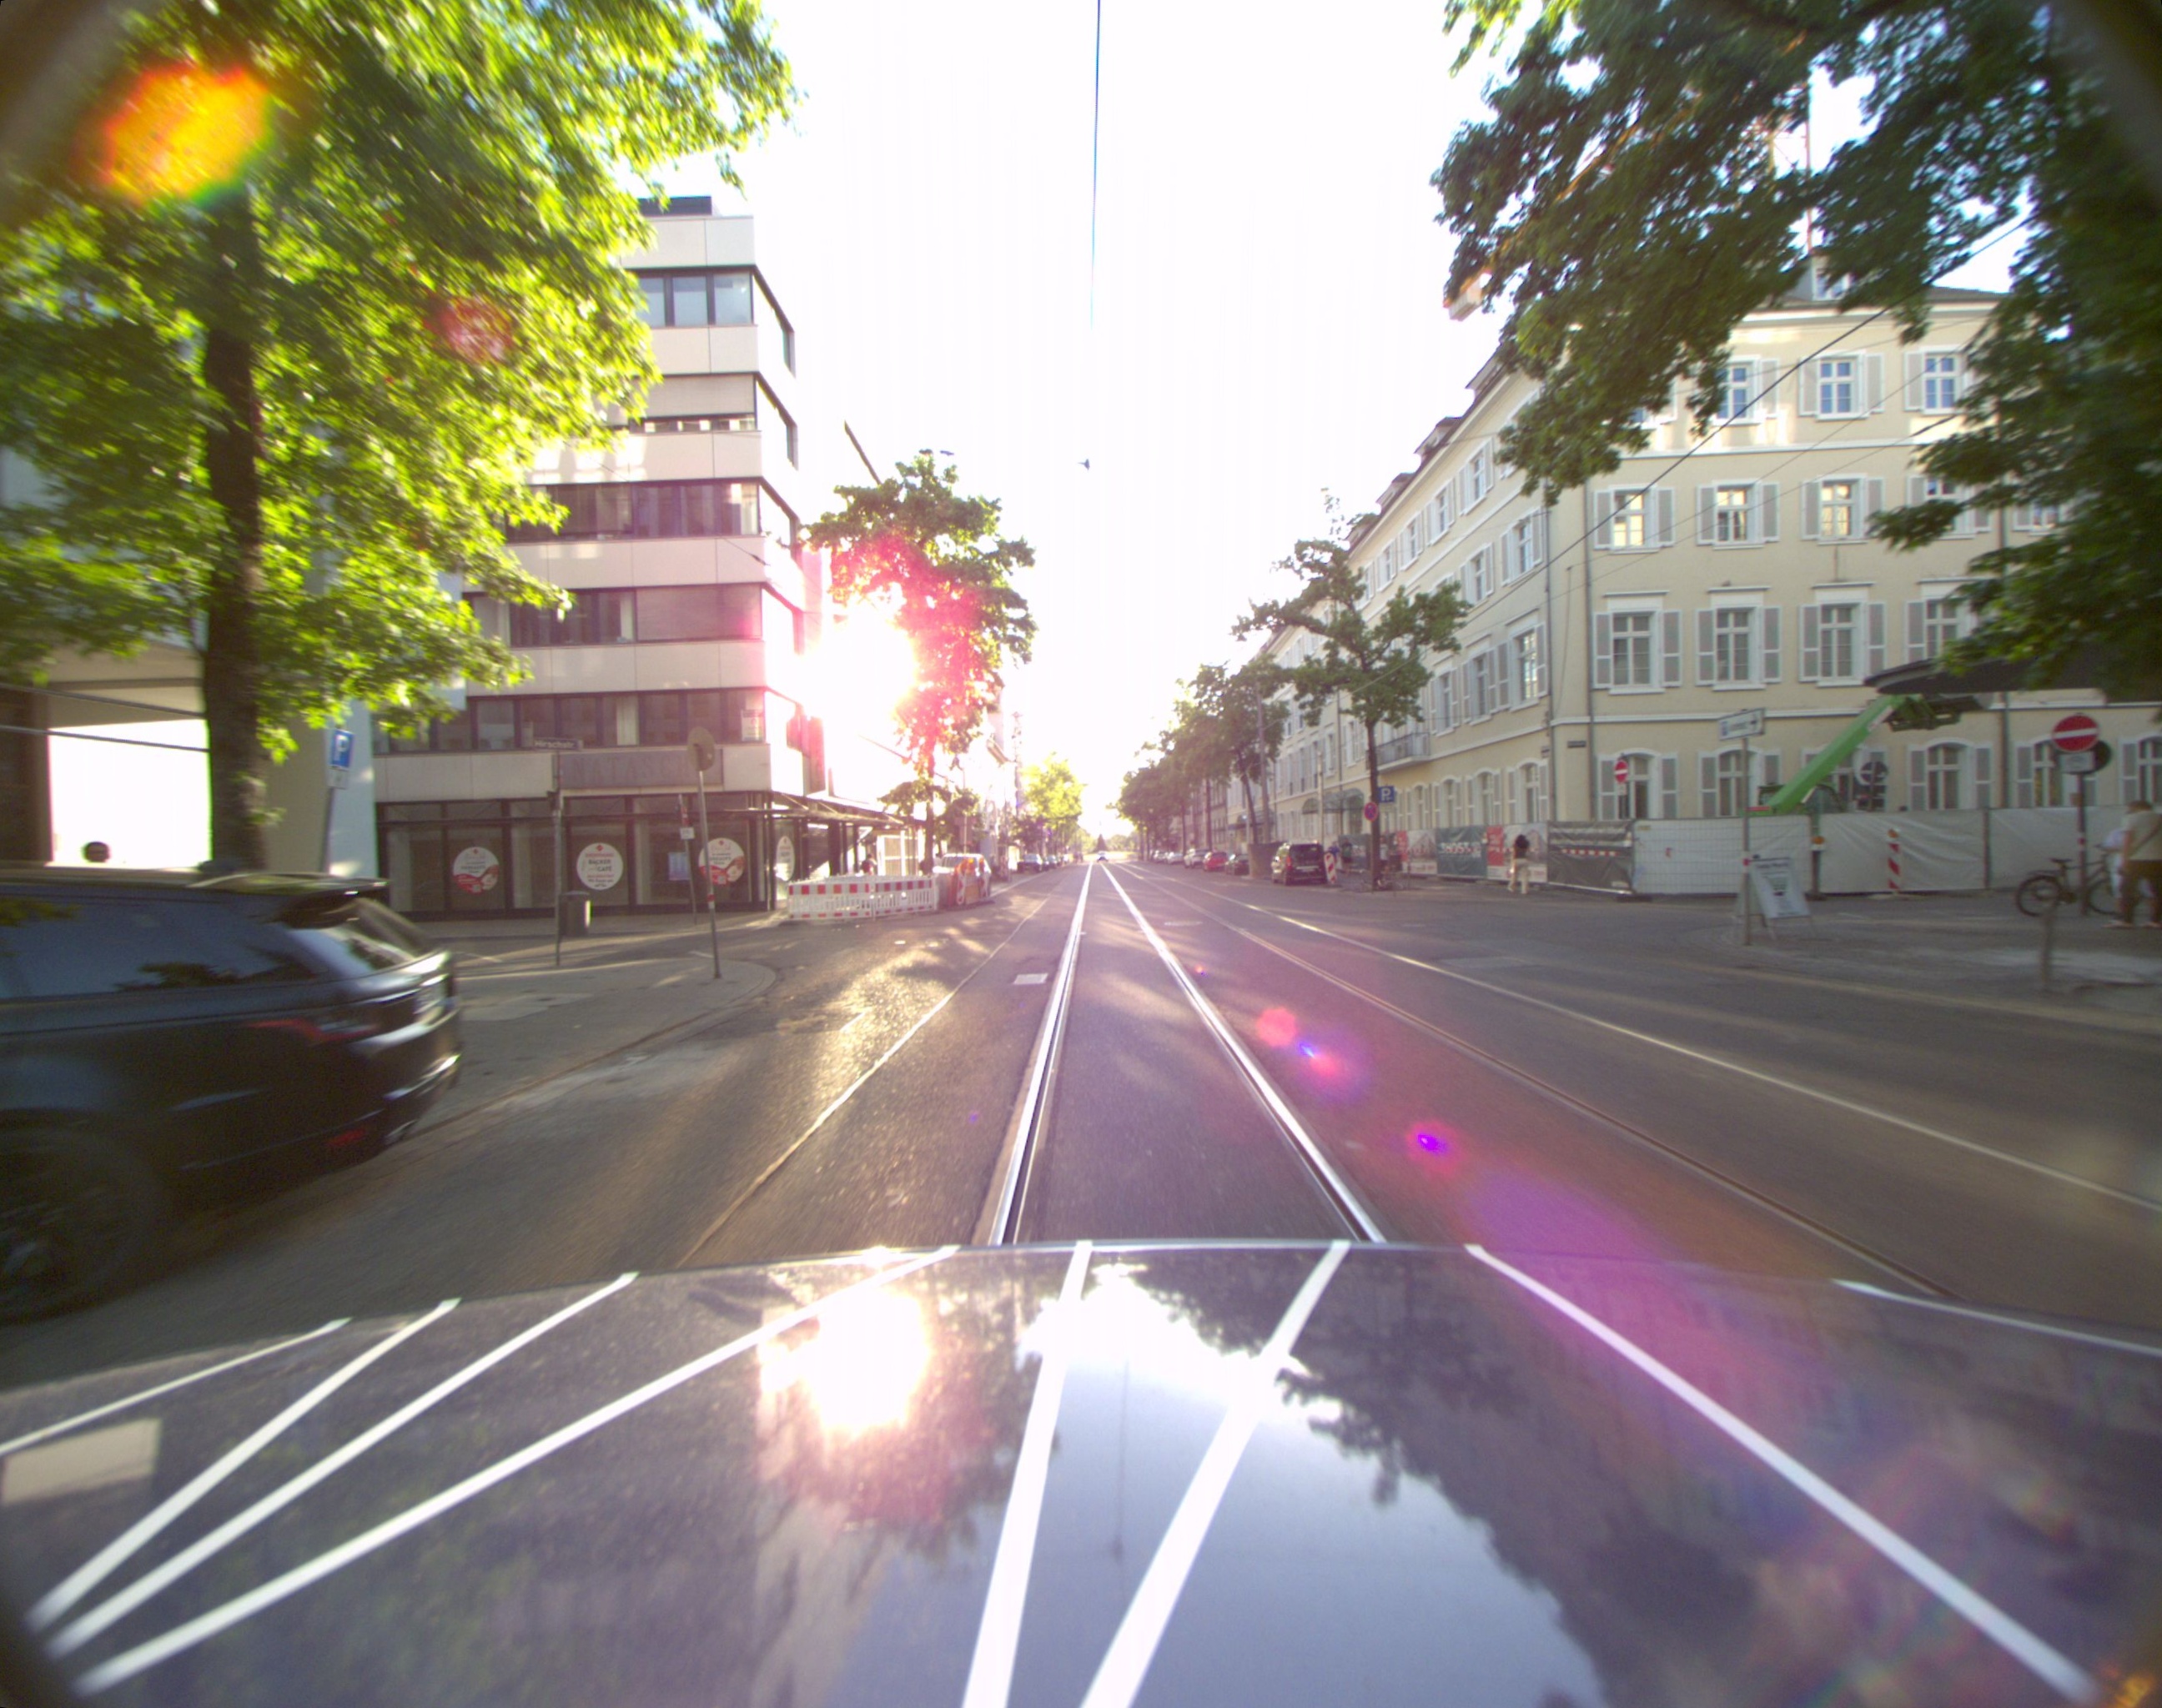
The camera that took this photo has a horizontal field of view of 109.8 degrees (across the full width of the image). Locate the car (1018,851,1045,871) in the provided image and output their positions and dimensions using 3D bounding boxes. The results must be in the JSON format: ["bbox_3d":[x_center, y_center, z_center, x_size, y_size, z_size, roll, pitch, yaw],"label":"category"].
[{"bbox_3d":[-4.309,0.596,67.303,1.985,1.679,4.873,1,0,1],"label":"car"}]

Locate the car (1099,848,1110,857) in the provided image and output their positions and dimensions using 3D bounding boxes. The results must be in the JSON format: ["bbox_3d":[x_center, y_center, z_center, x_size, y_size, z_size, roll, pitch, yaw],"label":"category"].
[{"bbox_3d":[4.148,-0.243,132.562,1.827,1.603,3.796,-1,0,2],"label":"car"}]

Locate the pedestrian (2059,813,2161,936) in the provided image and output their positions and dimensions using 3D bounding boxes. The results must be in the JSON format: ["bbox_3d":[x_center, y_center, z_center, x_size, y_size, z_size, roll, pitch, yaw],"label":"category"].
[{"bbox_3d":[14.418,0.276,10.461,0.798,1.605,0.865,-2,-1,-16],"label":"pedestrian"}]

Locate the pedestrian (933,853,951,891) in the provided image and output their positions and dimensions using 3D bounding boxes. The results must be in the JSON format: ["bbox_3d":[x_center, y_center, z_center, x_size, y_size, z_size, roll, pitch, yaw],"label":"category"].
[{"bbox_3d":[-6.908,0.885,37.862,0.707,1.820,0.634,-2,1,1],"label":"pedestrian"}]

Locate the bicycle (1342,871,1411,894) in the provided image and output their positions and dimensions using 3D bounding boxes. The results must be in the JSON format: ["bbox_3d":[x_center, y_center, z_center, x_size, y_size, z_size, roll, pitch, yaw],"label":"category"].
[{"bbox_3d":[9.770,0.934,25.197,1.799,0.605,1.282,-3,0,4],"label":"bicycle"}]

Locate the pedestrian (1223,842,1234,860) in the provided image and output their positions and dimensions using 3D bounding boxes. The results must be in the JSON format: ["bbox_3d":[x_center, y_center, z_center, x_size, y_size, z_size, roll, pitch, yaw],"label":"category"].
[{"bbox_3d":[13.326,-0.289,68.509,0.746,1.571,0.933,-4,1,1],"label":"pedestrian"}]

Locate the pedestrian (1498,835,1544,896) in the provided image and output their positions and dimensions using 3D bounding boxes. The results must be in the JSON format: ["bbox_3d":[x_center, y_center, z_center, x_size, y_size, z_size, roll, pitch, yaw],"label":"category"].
[{"bbox_3d":[12.211,0.307,21.120,0.709,1.646,0.967,-2,0,3],"label":"pedestrian"}]

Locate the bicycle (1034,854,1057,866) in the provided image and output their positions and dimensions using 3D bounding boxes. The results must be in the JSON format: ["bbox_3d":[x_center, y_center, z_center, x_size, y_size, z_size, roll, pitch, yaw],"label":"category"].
[{"bbox_3d":[-3.804,0.621,81.660,2.325,1.181,0.751,-2,1,2],"label":"bicycle"}]

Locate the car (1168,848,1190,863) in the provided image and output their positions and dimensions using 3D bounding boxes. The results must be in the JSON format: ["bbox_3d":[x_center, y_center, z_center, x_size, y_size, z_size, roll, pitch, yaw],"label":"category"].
[{"bbox_3d":[10.812,0.133,84.207,1.897,1.458,4.617,-5,0,2],"label":"car"}]

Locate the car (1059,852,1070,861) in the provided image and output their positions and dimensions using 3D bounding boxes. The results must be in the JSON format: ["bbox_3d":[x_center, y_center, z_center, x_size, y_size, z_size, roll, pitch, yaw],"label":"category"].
[{"bbox_3d":[-2.722,0.379,126.279,1.564,1.391,3.697,1,0,1],"label":"car"}]

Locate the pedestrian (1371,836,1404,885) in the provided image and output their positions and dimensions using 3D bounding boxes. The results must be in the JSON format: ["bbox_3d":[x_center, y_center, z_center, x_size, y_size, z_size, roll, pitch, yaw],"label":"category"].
[{"bbox_3d":[11.670,0.231,28.945,0.776,1.782,0.984,-4,1,3],"label":"pedestrian"}]

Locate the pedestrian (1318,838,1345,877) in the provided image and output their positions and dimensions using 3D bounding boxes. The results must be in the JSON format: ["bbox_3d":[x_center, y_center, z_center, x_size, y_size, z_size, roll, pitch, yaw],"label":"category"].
[{"bbox_3d":[11.919,0.180,36.121,0.867,1.771,0.884,-4,1,1],"label":"pedestrian"}]

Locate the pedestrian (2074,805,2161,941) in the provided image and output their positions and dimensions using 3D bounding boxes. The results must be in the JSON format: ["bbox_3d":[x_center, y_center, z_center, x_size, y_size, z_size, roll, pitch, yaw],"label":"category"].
[{"bbox_3d":[14.014,0.231,9.970,0.864,1.730,0.799,-2,0,20],"label":"pedestrian"}]

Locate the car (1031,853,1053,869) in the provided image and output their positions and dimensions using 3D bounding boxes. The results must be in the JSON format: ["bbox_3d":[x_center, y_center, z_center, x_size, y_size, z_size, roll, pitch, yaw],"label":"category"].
[{"bbox_3d":[-3.905,0.640,75.151,1.871,1.502,4.241,1,0,-7],"label":"car"}]

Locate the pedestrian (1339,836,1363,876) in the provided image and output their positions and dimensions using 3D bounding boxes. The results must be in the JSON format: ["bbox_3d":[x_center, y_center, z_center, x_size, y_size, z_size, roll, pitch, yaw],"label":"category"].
[{"bbox_3d":[12.798,0.093,35.999,0.721,1.802,0.876,-4,1,1],"label":"pedestrian"}]

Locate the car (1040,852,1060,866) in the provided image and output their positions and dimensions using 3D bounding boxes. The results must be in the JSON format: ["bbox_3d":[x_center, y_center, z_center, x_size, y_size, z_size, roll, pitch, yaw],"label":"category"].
[{"bbox_3d":[-3.439,0.540,84.889,1.770,1.502,4.287,-2,0,2],"label":"car"}]

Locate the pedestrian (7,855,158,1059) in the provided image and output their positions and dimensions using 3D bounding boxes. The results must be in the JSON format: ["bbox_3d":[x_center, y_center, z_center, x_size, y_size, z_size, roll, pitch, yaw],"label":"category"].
[{"bbox_3d":[-9.665,0.930,7.367,0.754,1.808,0.804,2,2,34],"label":"pedestrian"}]

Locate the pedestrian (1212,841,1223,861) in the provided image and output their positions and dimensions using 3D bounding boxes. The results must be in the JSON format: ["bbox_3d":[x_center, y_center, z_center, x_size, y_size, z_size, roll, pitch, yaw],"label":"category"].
[{"bbox_3d":[12.286,-0.261,68.618,0.746,1.732,0.933,-4,1,2],"label":"pedestrian"}]

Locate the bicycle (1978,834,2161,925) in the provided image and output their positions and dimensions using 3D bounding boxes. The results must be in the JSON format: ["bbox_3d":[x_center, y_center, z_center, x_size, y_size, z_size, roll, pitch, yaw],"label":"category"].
[{"bbox_3d":[15.931,0.411,12.279,1.878,1.371,0.713,-2,-2,3],"label":"bicycle"}]

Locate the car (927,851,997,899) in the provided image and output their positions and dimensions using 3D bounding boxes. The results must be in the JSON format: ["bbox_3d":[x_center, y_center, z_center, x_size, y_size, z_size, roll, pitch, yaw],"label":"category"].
[{"bbox_3d":[-4.675,0.758,30.527,2.028,1.727,4.906,1,0,0],"label":"car"}]

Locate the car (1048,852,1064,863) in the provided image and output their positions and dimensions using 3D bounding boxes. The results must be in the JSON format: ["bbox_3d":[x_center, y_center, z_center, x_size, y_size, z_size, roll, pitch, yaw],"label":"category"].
[{"bbox_3d":[-3.349,0.460,102.082,1.798,1.502,3.986,1,0,1],"label":"car"}]

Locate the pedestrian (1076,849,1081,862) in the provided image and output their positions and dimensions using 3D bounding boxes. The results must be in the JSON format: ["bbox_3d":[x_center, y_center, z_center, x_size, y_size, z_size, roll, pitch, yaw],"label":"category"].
[{"bbox_3d":[-0.331,0.200,105.338,0.705,1.858,0.792,-2,1,-1],"label":"pedestrian"}]

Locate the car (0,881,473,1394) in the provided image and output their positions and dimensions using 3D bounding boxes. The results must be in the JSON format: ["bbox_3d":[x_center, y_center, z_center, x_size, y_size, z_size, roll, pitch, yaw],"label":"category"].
[{"bbox_3d":[-5.554,1.042,2.960,4.674,1.753,1.990,1,1,-28],"label":"car"}]

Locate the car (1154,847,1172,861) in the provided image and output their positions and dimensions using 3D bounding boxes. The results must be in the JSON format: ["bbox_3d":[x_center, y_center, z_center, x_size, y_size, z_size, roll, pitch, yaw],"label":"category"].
[{"bbox_3d":[11.161,-0.061,103.566,1.952,1.731,4.765,-4,0,1],"label":"car"}]

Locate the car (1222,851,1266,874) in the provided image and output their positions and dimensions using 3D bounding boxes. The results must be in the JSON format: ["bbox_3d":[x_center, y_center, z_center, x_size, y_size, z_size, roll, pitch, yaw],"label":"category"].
[{"bbox_3d":[10.065,0.481,47.271,1.722,1.238,4.507,-4,0,1],"label":"car"}]

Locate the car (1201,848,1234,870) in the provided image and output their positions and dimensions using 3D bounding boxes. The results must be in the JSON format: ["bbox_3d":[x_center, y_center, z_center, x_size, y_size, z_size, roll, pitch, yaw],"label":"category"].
[{"bbox_3d":[10.003,0.359,55.906,1.664,1.397,4.141,-4,0,2],"label":"car"}]

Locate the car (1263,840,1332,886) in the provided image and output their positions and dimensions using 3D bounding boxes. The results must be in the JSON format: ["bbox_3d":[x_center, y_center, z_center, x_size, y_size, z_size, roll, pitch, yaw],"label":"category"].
[{"bbox_3d":[9.517,0.343,33.736,1.862,1.821,4.559,-3,0,3],"label":"car"}]

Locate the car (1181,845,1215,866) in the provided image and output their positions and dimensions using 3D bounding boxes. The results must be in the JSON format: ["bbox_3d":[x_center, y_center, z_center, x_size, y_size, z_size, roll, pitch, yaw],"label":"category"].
[{"bbox_3d":[10.106,0.120,65.803,1.870,1.679,4.950,-4,0,-2],"label":"car"}]

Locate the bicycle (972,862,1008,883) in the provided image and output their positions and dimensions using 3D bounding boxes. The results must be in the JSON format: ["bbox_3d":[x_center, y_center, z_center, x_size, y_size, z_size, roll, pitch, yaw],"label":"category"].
[{"bbox_3d":[-5.045,1.004,42.017,1.816,1.128,0.841,0,2,9],"label":"bicycle"}]

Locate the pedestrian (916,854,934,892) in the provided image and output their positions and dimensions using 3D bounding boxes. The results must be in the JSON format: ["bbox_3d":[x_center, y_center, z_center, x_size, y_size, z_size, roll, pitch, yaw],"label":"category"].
[{"bbox_3d":[-7.732,0.935,37.672,0.690,1.820,0.634,-2,1,1],"label":"pedestrian"}]

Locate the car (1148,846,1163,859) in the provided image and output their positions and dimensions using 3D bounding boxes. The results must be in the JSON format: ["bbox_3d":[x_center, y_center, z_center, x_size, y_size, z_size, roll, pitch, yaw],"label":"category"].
[{"bbox_3d":[11.635,-0.215,118.434,1.931,1.946,4.765,-1,0,1],"label":"car"}]

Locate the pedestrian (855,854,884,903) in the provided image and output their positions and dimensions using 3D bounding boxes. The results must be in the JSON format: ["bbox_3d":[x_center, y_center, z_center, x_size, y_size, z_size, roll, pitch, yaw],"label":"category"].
[{"bbox_3d":[-8.321,0.942,29.902,0.835,1.886,0.918,0,1,4],"label":"pedestrian"}]
